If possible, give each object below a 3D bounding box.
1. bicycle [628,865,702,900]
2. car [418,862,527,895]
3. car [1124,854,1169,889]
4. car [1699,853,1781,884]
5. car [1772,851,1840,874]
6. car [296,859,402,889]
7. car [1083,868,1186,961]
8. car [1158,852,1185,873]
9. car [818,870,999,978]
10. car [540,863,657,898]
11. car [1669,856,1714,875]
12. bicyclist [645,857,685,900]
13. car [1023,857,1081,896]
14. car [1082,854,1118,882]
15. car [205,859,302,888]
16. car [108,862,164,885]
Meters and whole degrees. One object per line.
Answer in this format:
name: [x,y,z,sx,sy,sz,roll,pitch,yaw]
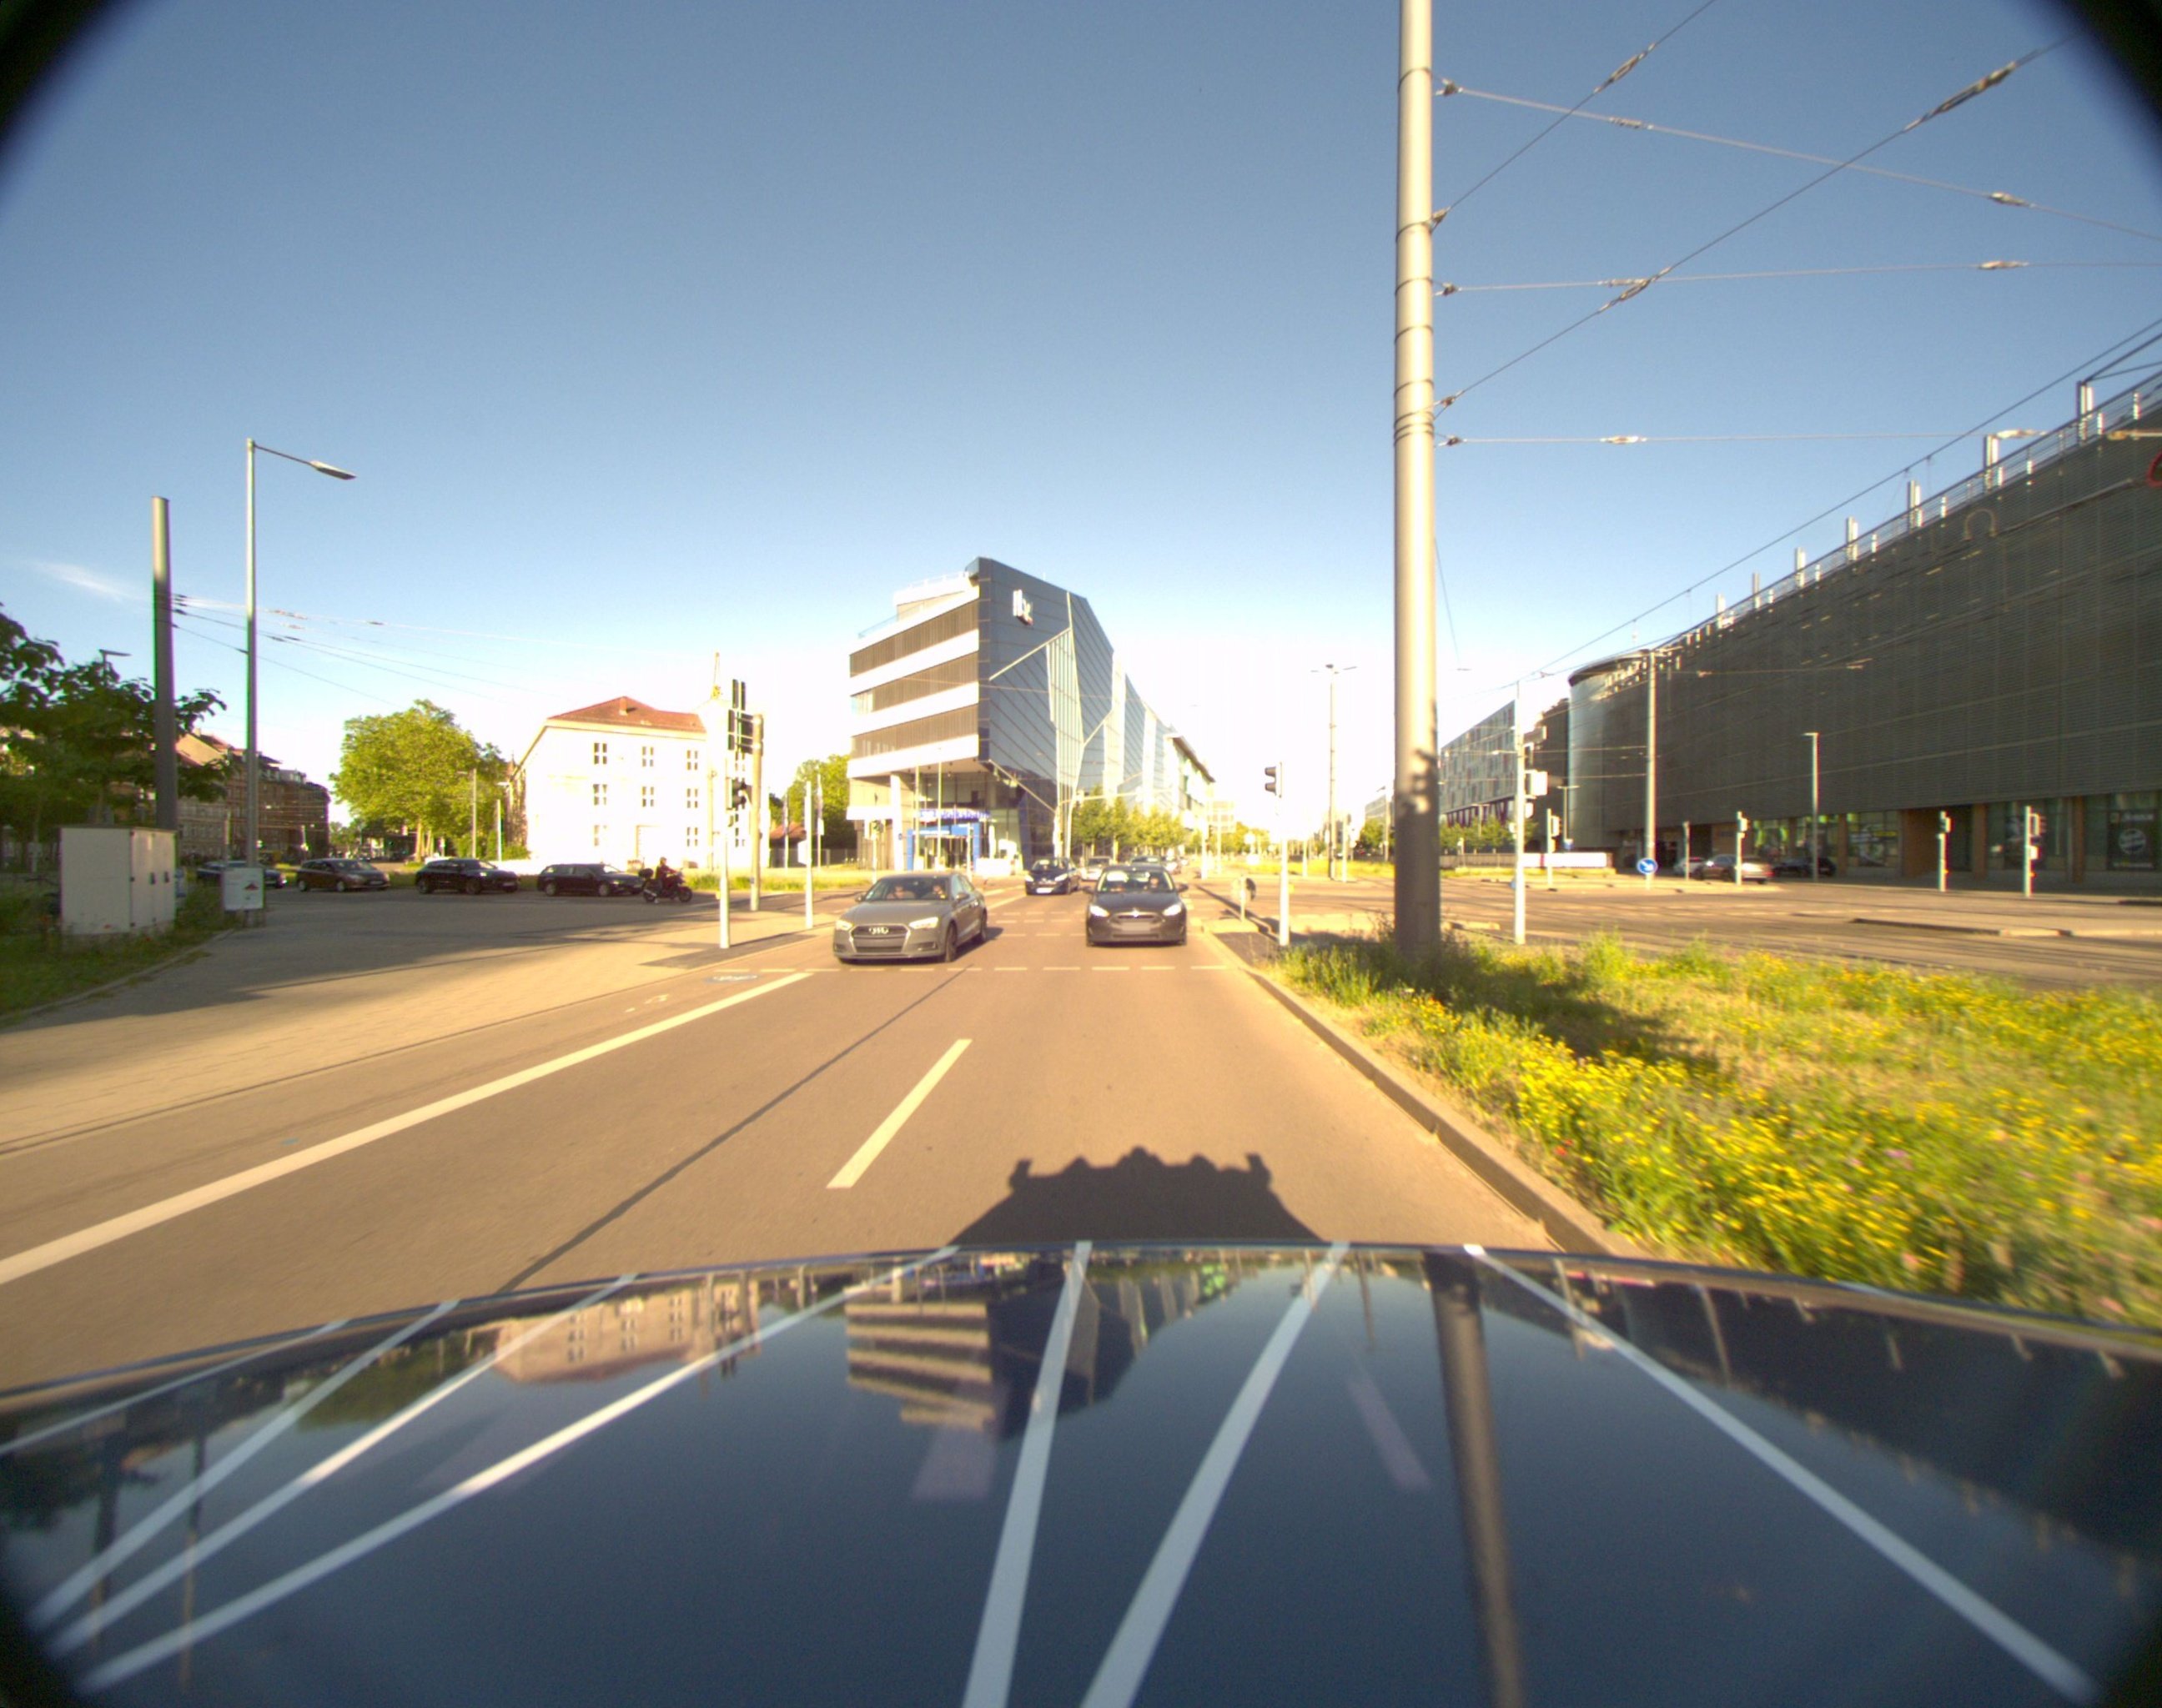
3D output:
bicycle: [-15.856,1.070,28.982,2.368,1.304,0.952,0,1,10]
car: [-27.981,1.084,34.984,3.992,1.414,2.002,0,1,17]
car: [3.056,0.740,34.825,1.748,1.496,3.883,0,0,10]
car: [36.478,0.767,42.207,1.808,1.566,4.299,1,1,17]
car: [50.422,0.566,52.948,1.583,1.521,3.753,-1,1,9]
car: [-35.800,0.945,37.175,3.992,1.414,2.002,0,1,17]
car: [1.103,1.022,14.571,1.689,1.425,4.155,0,0,6]
car: [6.740,0.606,56.400,1.619,1.421,3.771,0,0,12]
car: [-2.697,1.047,12.891,1.713,1.433,4.113,-1,0,6]
car: [-21.101,1.130,33.262,4.286,1.414,2.002,0,1,17]
car: [47.253,0.854,58.862,1.688,1.364,3.596,0,0,21]
bicyclist: [-15.870,0.911,28.997,1.006,1.598,0.880,0,1,10]
car: [-1.112,0.850,30.980,1.735,1.437,4.002,0,0,7]
car: [1.095,0.740,42.579,1.438,1.437,4.003,0,0,10]
car: [-42.764,0.980,39.255,4.514,1.414,2.003,0,1,23]
car: [-56.524,1.125,45.501,3.988,1.237,2.004,0,1,39]
